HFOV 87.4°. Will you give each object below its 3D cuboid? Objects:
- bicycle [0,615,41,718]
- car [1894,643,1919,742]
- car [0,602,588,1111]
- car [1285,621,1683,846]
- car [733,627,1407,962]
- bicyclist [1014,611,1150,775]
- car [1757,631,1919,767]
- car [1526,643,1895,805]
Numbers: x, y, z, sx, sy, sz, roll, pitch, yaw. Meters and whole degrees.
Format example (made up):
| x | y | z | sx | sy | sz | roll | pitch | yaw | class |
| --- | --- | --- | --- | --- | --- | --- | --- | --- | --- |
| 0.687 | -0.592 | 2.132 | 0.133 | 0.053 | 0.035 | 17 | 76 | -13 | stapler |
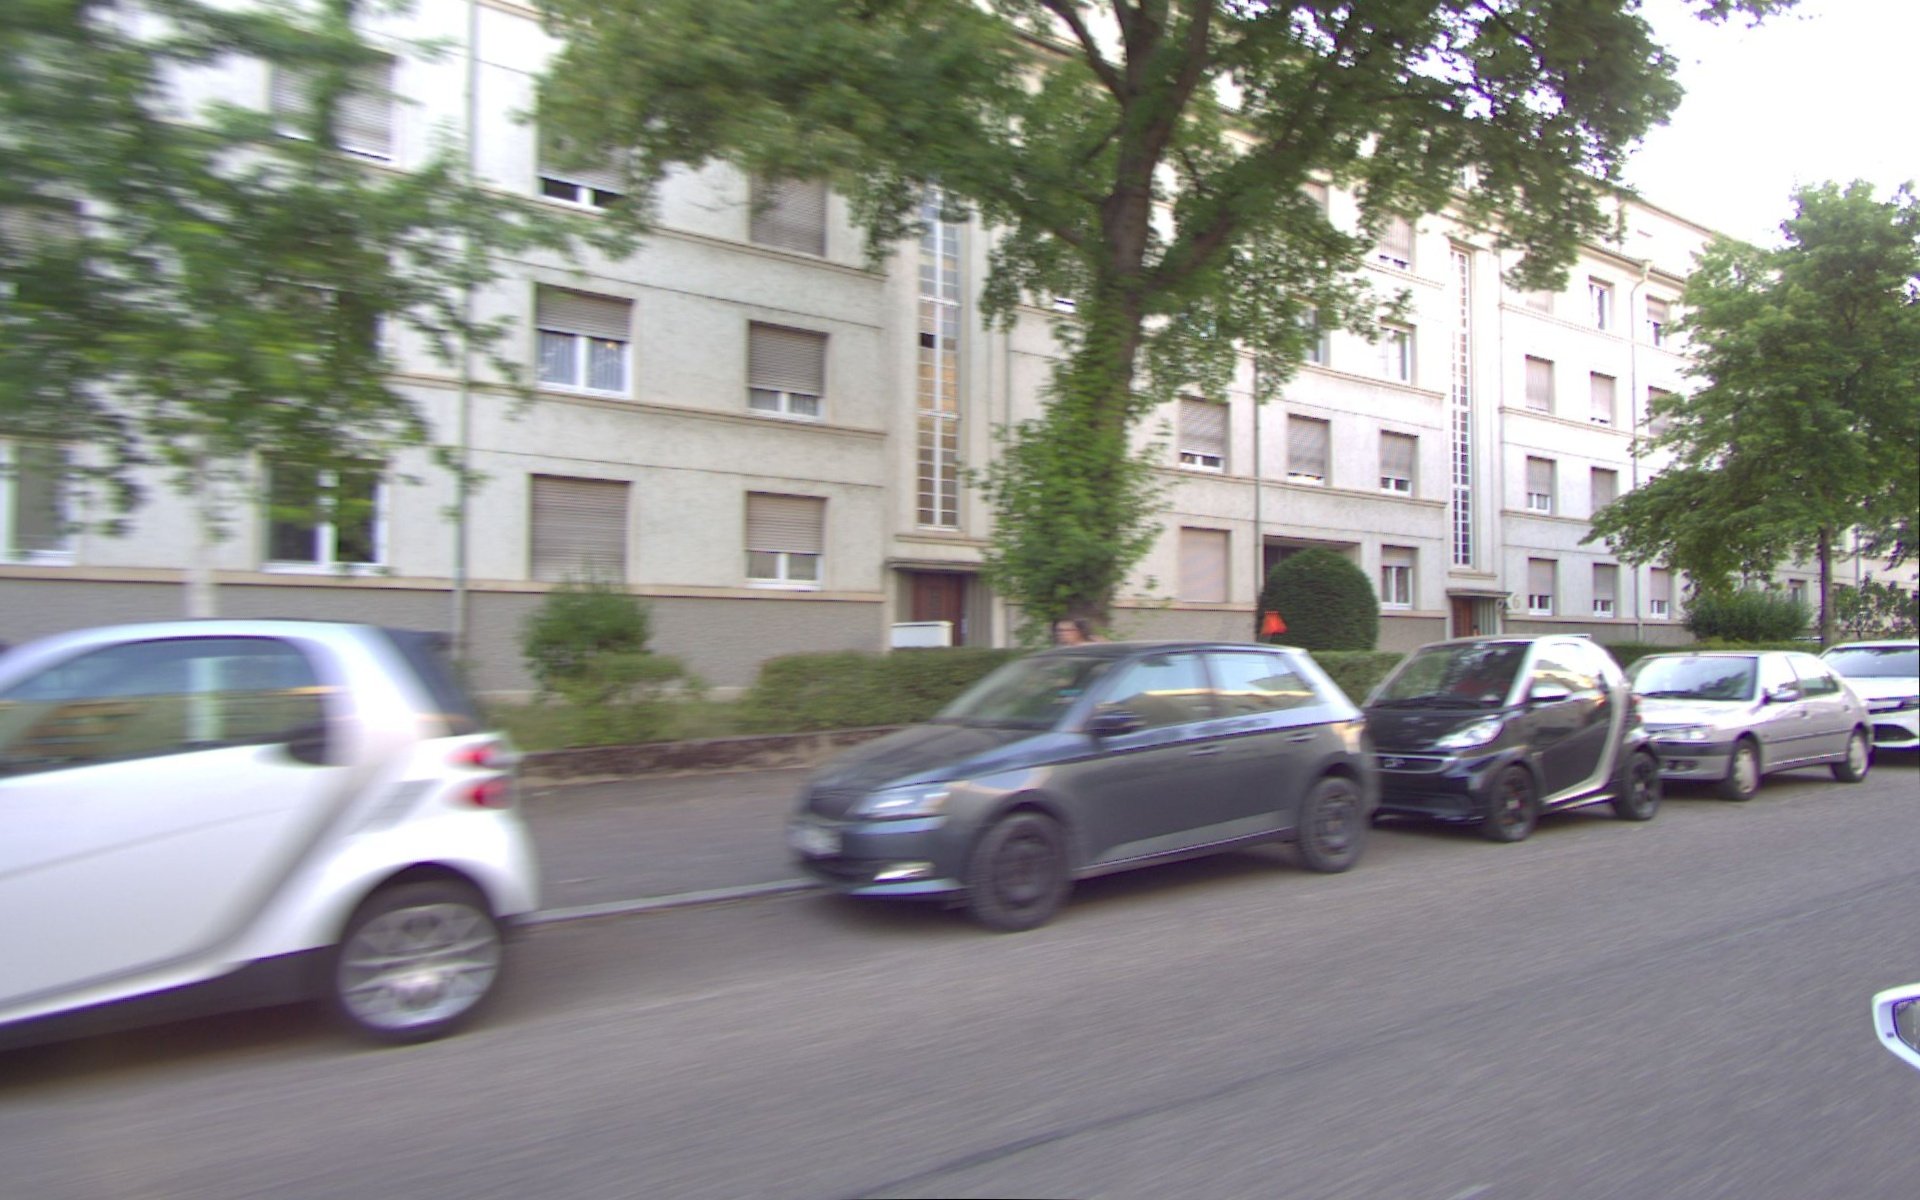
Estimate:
| x | y | z | sx | sy | sz | roll | pitch | yaw | class |
| --- | --- | --- | --- | --- | --- | --- | --- | --- | --- |
| -12.411 | 0.799 | 12.141 | 1.794 | 1.246 | 0.554 | 1 | -2 | -28 | bicycle |
| 16.294 | 1.375 | 15.440 | 3.797 | 1.470 | 1.700 | 2 | -6 | -30 | car |
| -3.084 | 0.857 | 3.928 | 2.885 | 1.548 | 1.585 | 1 | -6 | -28 | car |
| 4.425 | 1.029 | 8.431 | 3.129 | 1.548 | 1.516 | 2 | -6 | -32 | car |
| 0.800 | 0.987 | 6.261 | 4.056 | 1.485 | 1.582 | 2 | -6 | -32 | car |
| 1.126 | 0.824 | 9.317 | 0.962 | 1.422 | 0.804 | 1 | -2 | -30 | bicyclist |
| 12.417 | 1.258 | 13.295 | 4.161 | 1.558 | 1.582 | 2 | -6 | -33 | car |
| 8.010 | 1.218 | 10.647 | 4.132 | 1.422 | 1.583 | 2 | -6 | -30 | car |
